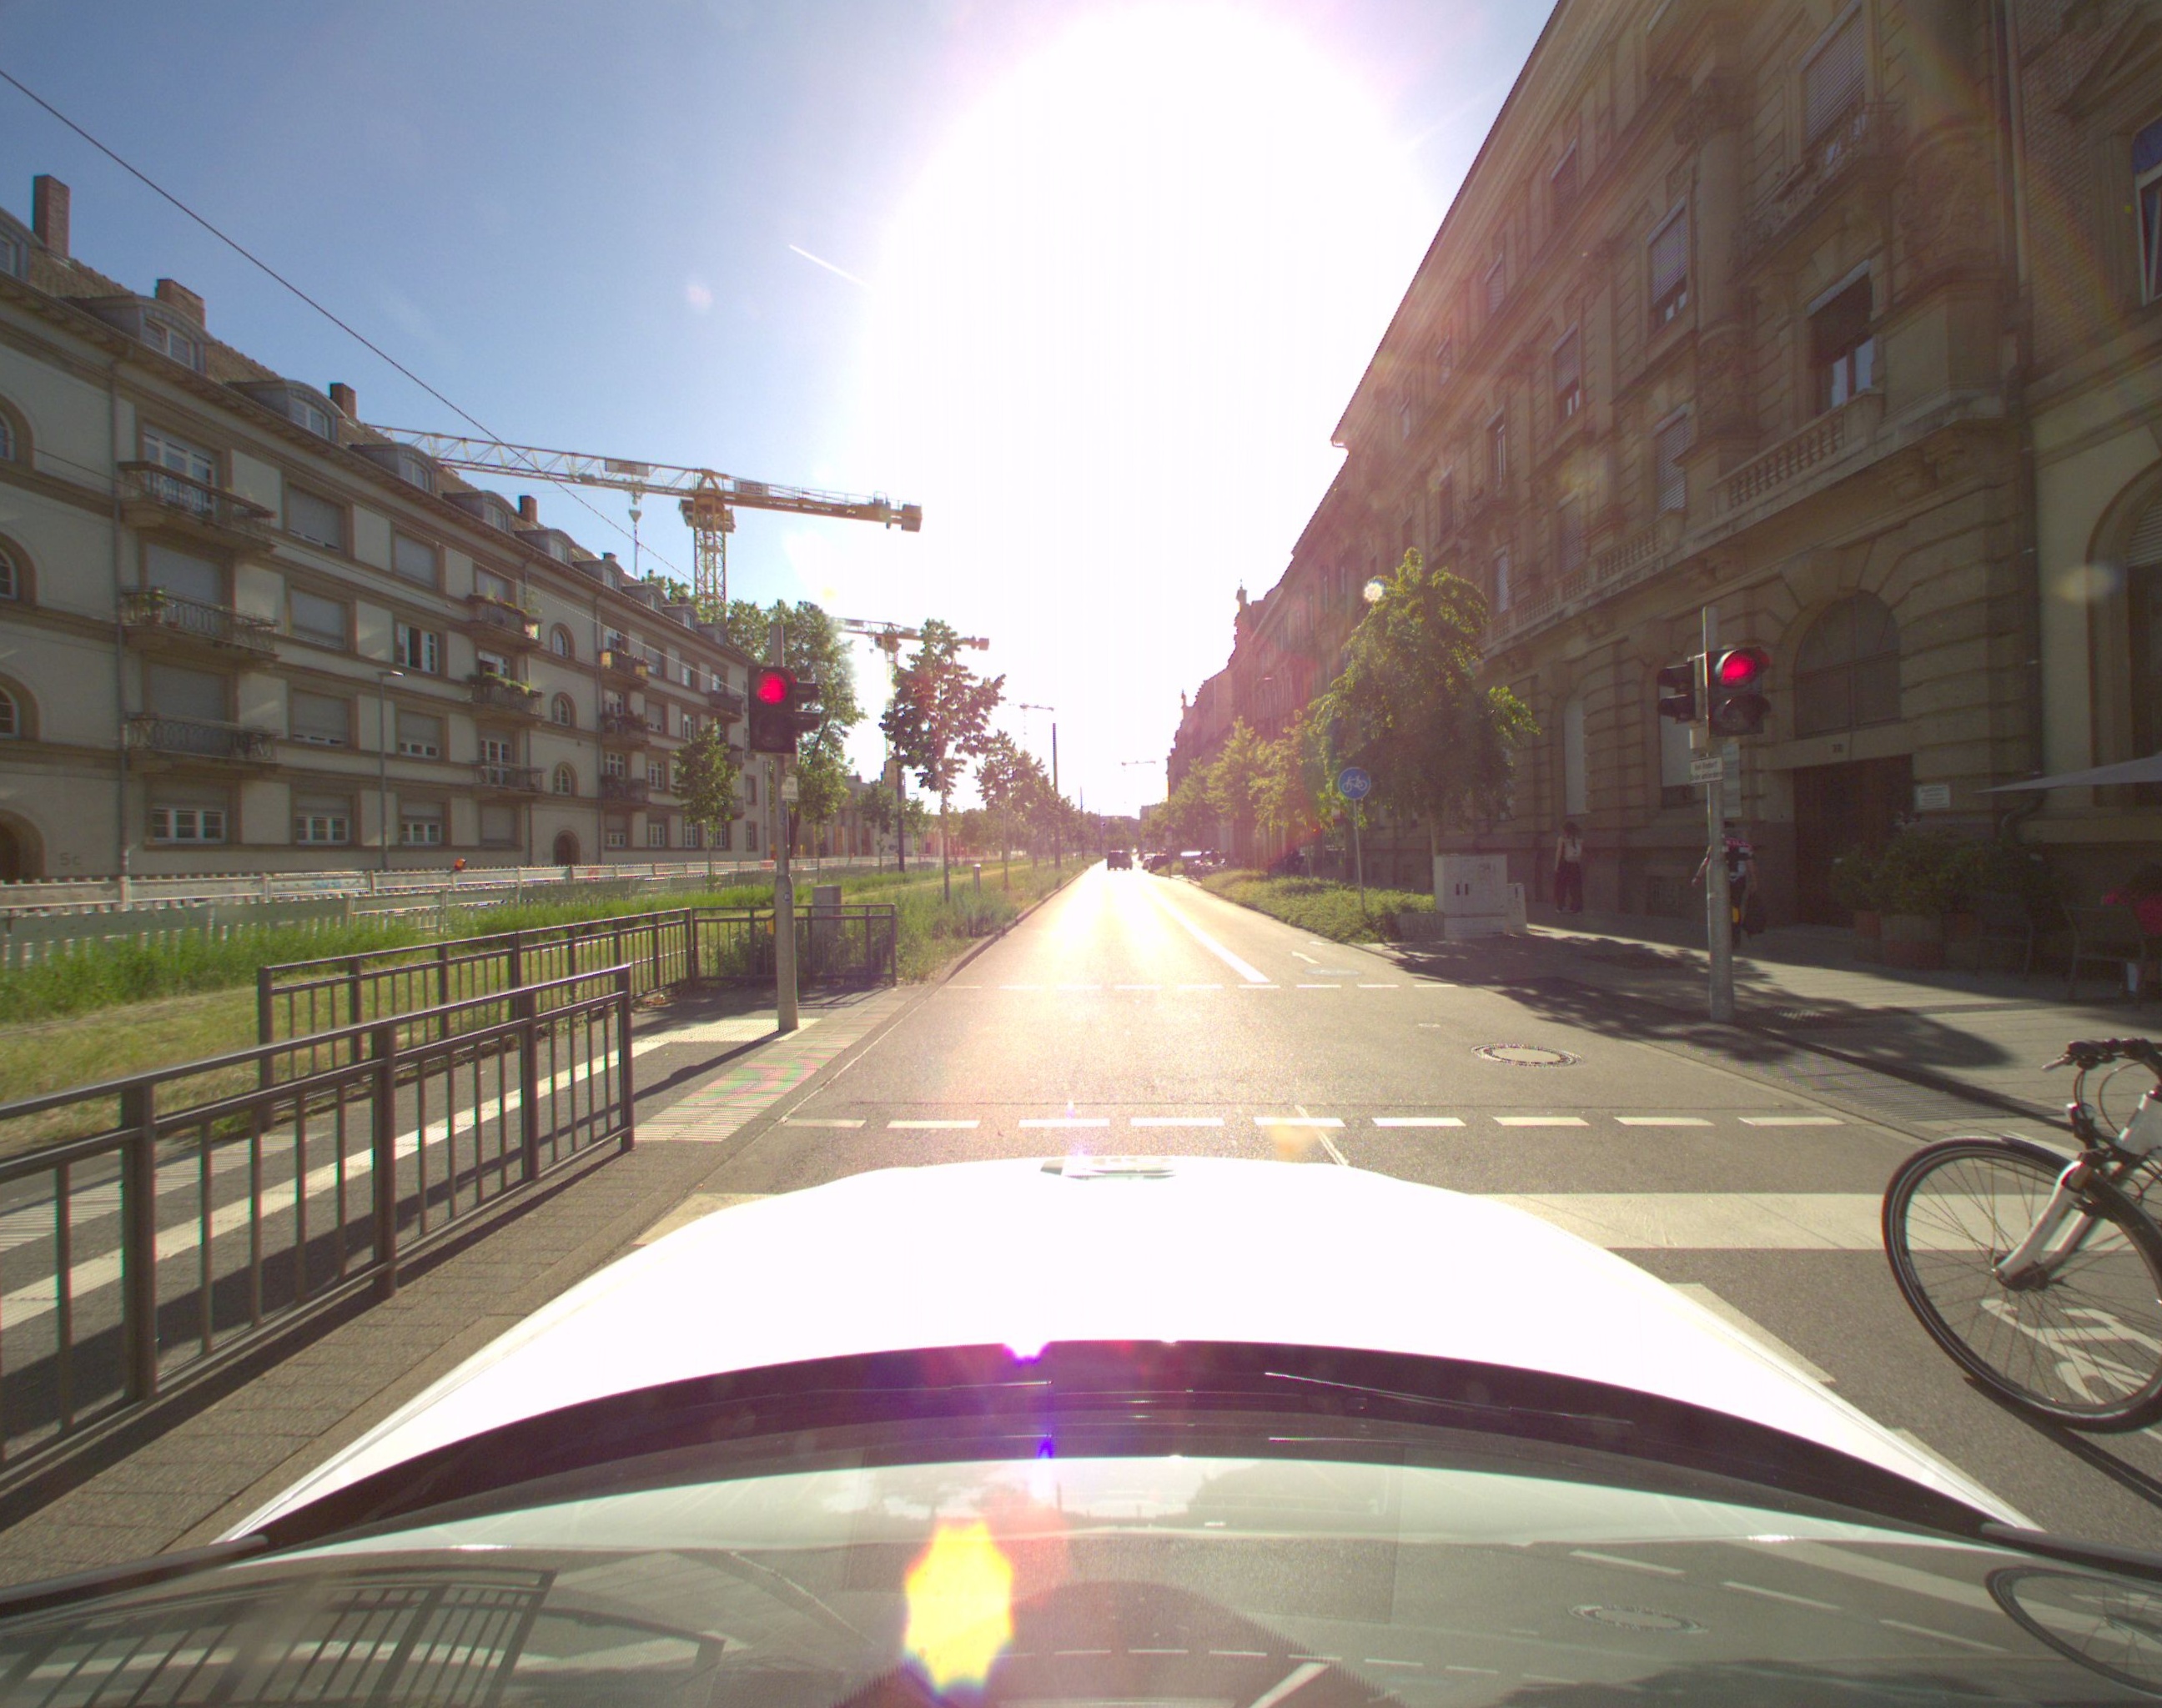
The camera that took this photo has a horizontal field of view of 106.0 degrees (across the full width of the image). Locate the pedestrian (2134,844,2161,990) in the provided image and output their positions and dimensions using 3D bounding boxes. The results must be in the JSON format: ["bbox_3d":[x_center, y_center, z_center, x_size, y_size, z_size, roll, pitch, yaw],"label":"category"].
[{"bbox_3d":[9.869,0.542,6.895,0.722,1.282,0.888,-2,-1,1],"label":"pedestrian"}]

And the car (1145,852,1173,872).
[{"bbox_3d":[6.465,0.663,67.572,1.760,1.477,4.447,-4,-1,-1],"label":"car"}]

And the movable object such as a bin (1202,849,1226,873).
[{"bbox_3d":[8.925,0.471,54.799,1.368,1.495,1.750,-4,-1,3],"label":"movable object such as a bin"}]

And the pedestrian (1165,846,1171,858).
[{"bbox_3d":[14.831,-0.293,138.807,0.814,2.014,1.046,0,-3,2],"label":"pedestrian"}]

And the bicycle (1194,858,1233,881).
[{"bbox_3d":[6.671,0.776,41.076,1.811,1.056,0.571,-3,-1,-4],"label":"bicycle"}]

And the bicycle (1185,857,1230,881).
[{"bbox_3d":[6.620,0.783,42.587,2.287,1.102,0.484,-3,0,-13],"label":"bicycle"}]

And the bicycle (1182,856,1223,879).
[{"bbox_3d":[6.580,0.734,44.018,2.040,1.107,0.610,-4,0,-4],"label":"bicycle"}]

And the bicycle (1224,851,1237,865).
[{"bbox_3d":[12.772,0.331,69.688,0.745,1.201,1.802,-3,-1,2],"label":"bicycle"}]

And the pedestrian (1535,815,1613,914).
[{"bbox_3d":[10.022,0.210,16.605,0.885,1.920,1.100,-3,0,7],"label":"pedestrian"}]

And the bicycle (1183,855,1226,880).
[{"bbox_3d":[6.490,0.710,42.935,2.148,1.154,0.428,-5,0,-12],"label":"bicycle"}]

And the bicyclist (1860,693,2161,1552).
[{"bbox_3d":[2.637,0.567,1.821,0.722,1.817,1.088,0,0,-7],"label":"bicyclist"}]

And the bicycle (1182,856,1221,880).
[{"bbox_3d":[6.589,0.740,44.426,1.970,1.124,0.481,-5,1,-4],"label":"bicycle"}]

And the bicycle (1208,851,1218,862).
[{"bbox_3d":[13.547,0.205,83.846,0.718,1.090,2.200,-3,0,2],"label":"bicycle"}]

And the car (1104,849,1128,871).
[{"bbox_3d":[3.382,0.596,78.076,1.983,2.014,4.008,0,-1,7],"label":"car"}]

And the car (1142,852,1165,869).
[{"bbox_3d":[7.065,0.598,80.275,1.944,1.495,5.108,-3,0,2],"label":"car"}]

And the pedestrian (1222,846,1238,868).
[{"bbox_3d":[10.944,0.244,59.994,0.947,1.566,1.080,-2,1,1],"label":"pedestrian"}]

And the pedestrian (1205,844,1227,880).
[{"bbox_3d":[6.842,0.397,41.352,0.893,1.735,0.853,-5,0,13],"label":"pedestrian"}]

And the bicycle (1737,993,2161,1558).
[{"bbox_3d":[2.644,0.986,1.779,0.722,1.006,1.948,0,0,-6],"label":"bicycle"}]

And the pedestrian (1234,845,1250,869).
[{"bbox_3d":[11.874,0.211,60.090,0.967,1.639,0.993,-3,1,2],"label":"pedestrian"}]

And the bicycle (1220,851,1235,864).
[{"bbox_3d":[13.063,0.320,72.749,0.873,1.105,2.181,-4,0,-1],"label":"bicycle"}]

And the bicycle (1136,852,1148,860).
[{"bbox_3d":[10.267,0.288,137.608,1.875,1.233,0.499,-4,-1,-4],"label":"bicycle"}]

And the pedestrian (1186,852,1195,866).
[{"bbox_3d":[12.971,0.592,96.213,0.992,1.731,0.866,0,-1,1],"label":"pedestrian"}]

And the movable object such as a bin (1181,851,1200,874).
[{"bbox_3d":[7.329,0.538,54.664,1.264,1.463,1.647,0,2,6],"label":"movable object such as a bin"}]

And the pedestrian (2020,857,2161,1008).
[{"bbox_3d":[8.898,0.631,6.952,0.715,1.183,0.881,-2,-1,1],"label":"pedestrian"}]

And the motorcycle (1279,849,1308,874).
[{"bbox_3d":[11.523,0.409,44.247,0.862,1.266,2.983,0,-1,2],"label":"motorcycle"}]

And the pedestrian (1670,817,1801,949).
[{"bbox_3d":[8.939,0.382,11.186,0.962,1.692,1.118,-3,0,16],"label":"pedestrian"}]

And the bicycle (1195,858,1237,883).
[{"bbox_3d":[6.575,0.780,39.604,1.887,1.108,0.517,-3,-1,-4],"label":"bicycle"}]

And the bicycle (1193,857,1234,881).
[{"bbox_3d":[6.726,0.745,41.419,1.971,1.108,0.435,-3,-1,-1],"label":"bicycle"}]

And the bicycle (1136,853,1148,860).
[{"bbox_3d":[10.462,0.361,139.138,1.821,1.078,0.664,-4,0,-4],"label":"bicycle"}]

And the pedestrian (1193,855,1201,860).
[{"bbox_3d":[14.336,0.469,100.699,0.770,0.553,2.008,-2,1,2],"label":"pedestrian"}]
